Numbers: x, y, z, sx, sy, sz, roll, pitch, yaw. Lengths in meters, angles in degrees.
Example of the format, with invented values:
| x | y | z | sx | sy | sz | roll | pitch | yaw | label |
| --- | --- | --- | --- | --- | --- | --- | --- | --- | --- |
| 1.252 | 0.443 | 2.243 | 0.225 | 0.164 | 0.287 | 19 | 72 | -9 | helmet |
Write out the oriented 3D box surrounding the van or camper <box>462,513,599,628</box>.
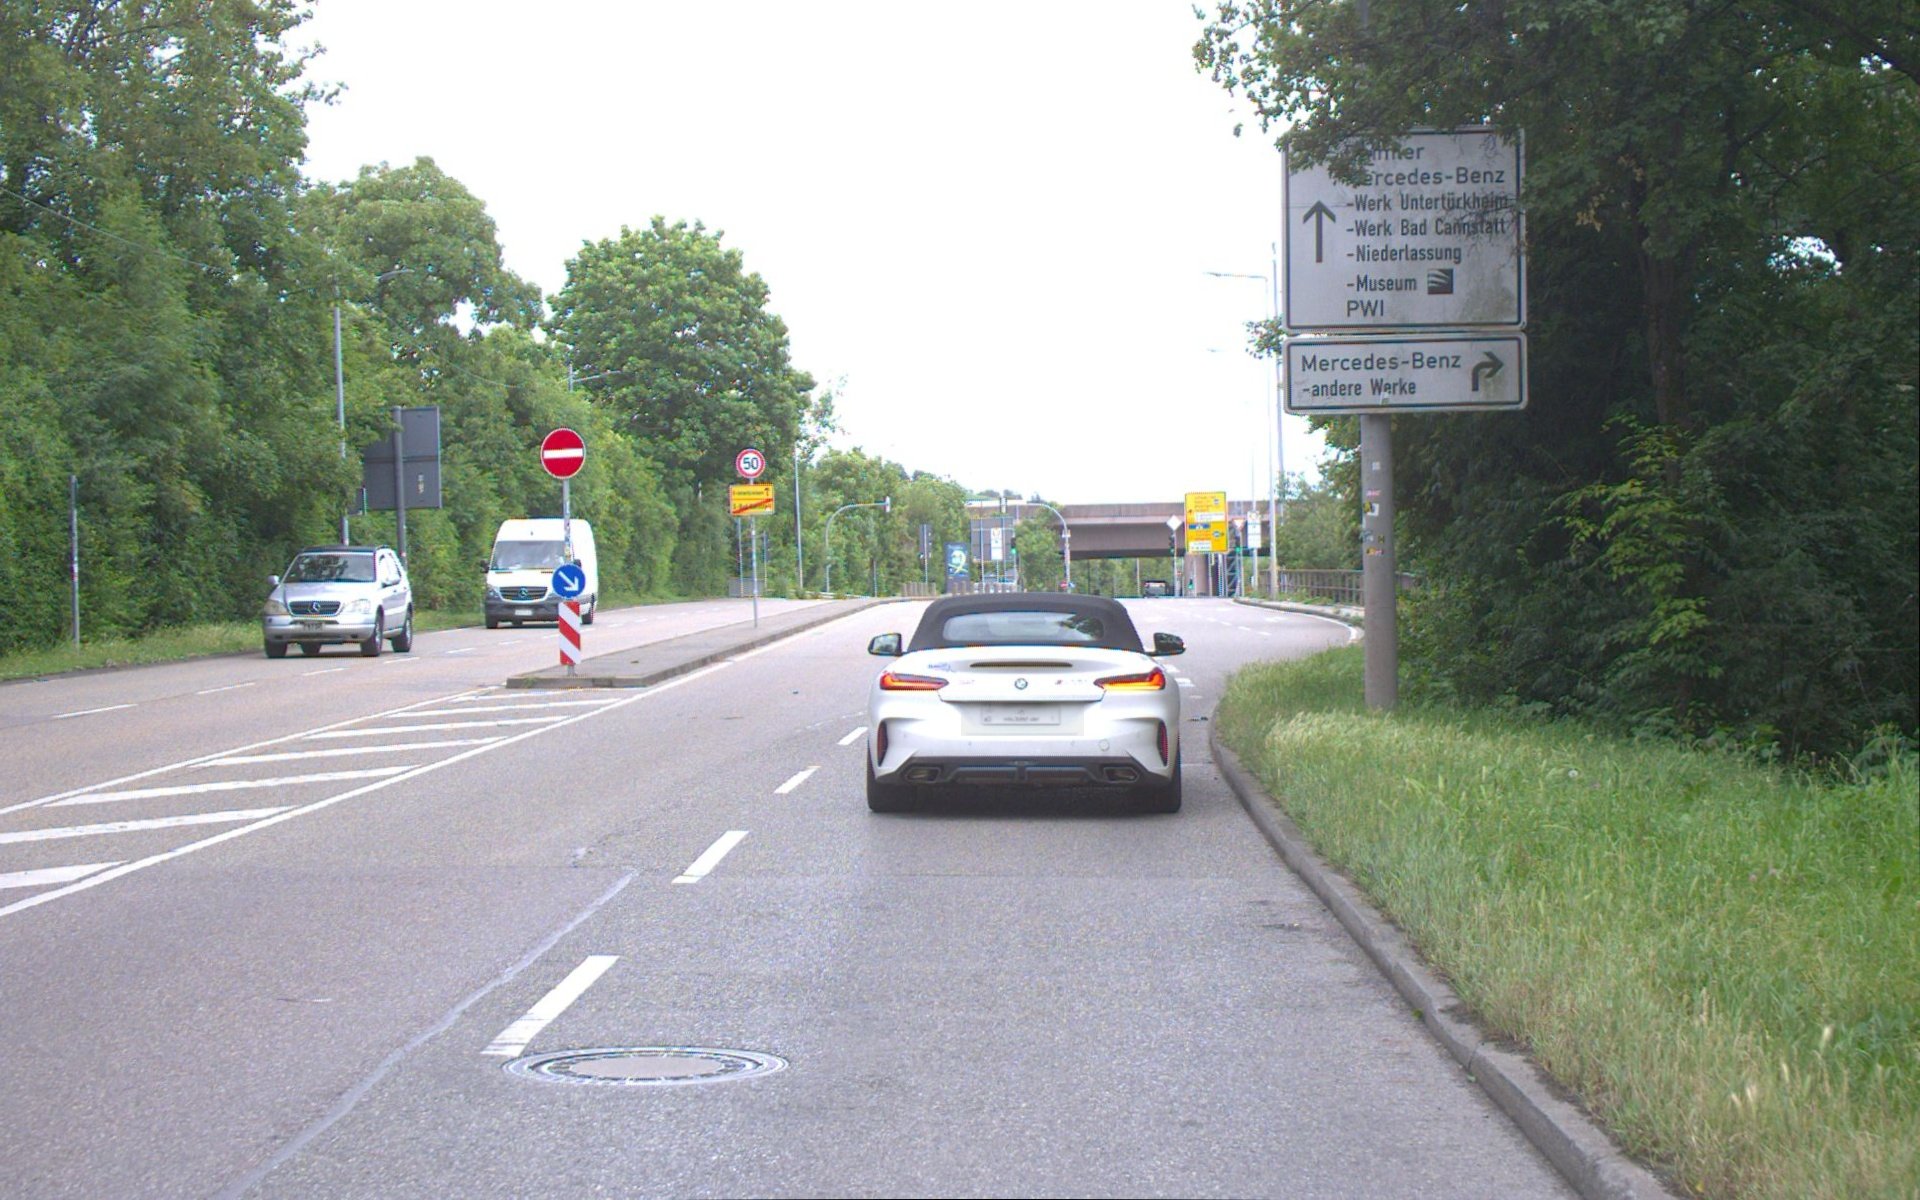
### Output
| x | y | z | sx | sy | sz | roll | pitch | yaw | label |
| --- | --- | --- | --- | --- | --- | --- | --- | --- | --- |
| -10.171 | -0.644 | 81.960 | 2.283 | 2.546 | 6.859 | 2 | -1 | 0 | van or camper |

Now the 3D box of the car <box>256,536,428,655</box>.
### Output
| x | y | z | sx | sy | sz | roll | pitch | yaw | label |
| --- | --- | --- | --- | --- | --- | --- | --- | --- | --- |
| -10.100 | -0.104 | 56.484 | 1.813 | 1.824 | 4.383 | -1 | 1 | 3 | car |

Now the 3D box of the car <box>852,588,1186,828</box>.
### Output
| x | y | z | sx | sy | sz | roll | pitch | yaw | label |
| --- | --- | --- | --- | --- | --- | --- | --- | --- | --- |
| 0.349 | 0.608 | 21.442 | 1.875 | 1.305 | 3.873 | -1 | 1 | 1 | car |
